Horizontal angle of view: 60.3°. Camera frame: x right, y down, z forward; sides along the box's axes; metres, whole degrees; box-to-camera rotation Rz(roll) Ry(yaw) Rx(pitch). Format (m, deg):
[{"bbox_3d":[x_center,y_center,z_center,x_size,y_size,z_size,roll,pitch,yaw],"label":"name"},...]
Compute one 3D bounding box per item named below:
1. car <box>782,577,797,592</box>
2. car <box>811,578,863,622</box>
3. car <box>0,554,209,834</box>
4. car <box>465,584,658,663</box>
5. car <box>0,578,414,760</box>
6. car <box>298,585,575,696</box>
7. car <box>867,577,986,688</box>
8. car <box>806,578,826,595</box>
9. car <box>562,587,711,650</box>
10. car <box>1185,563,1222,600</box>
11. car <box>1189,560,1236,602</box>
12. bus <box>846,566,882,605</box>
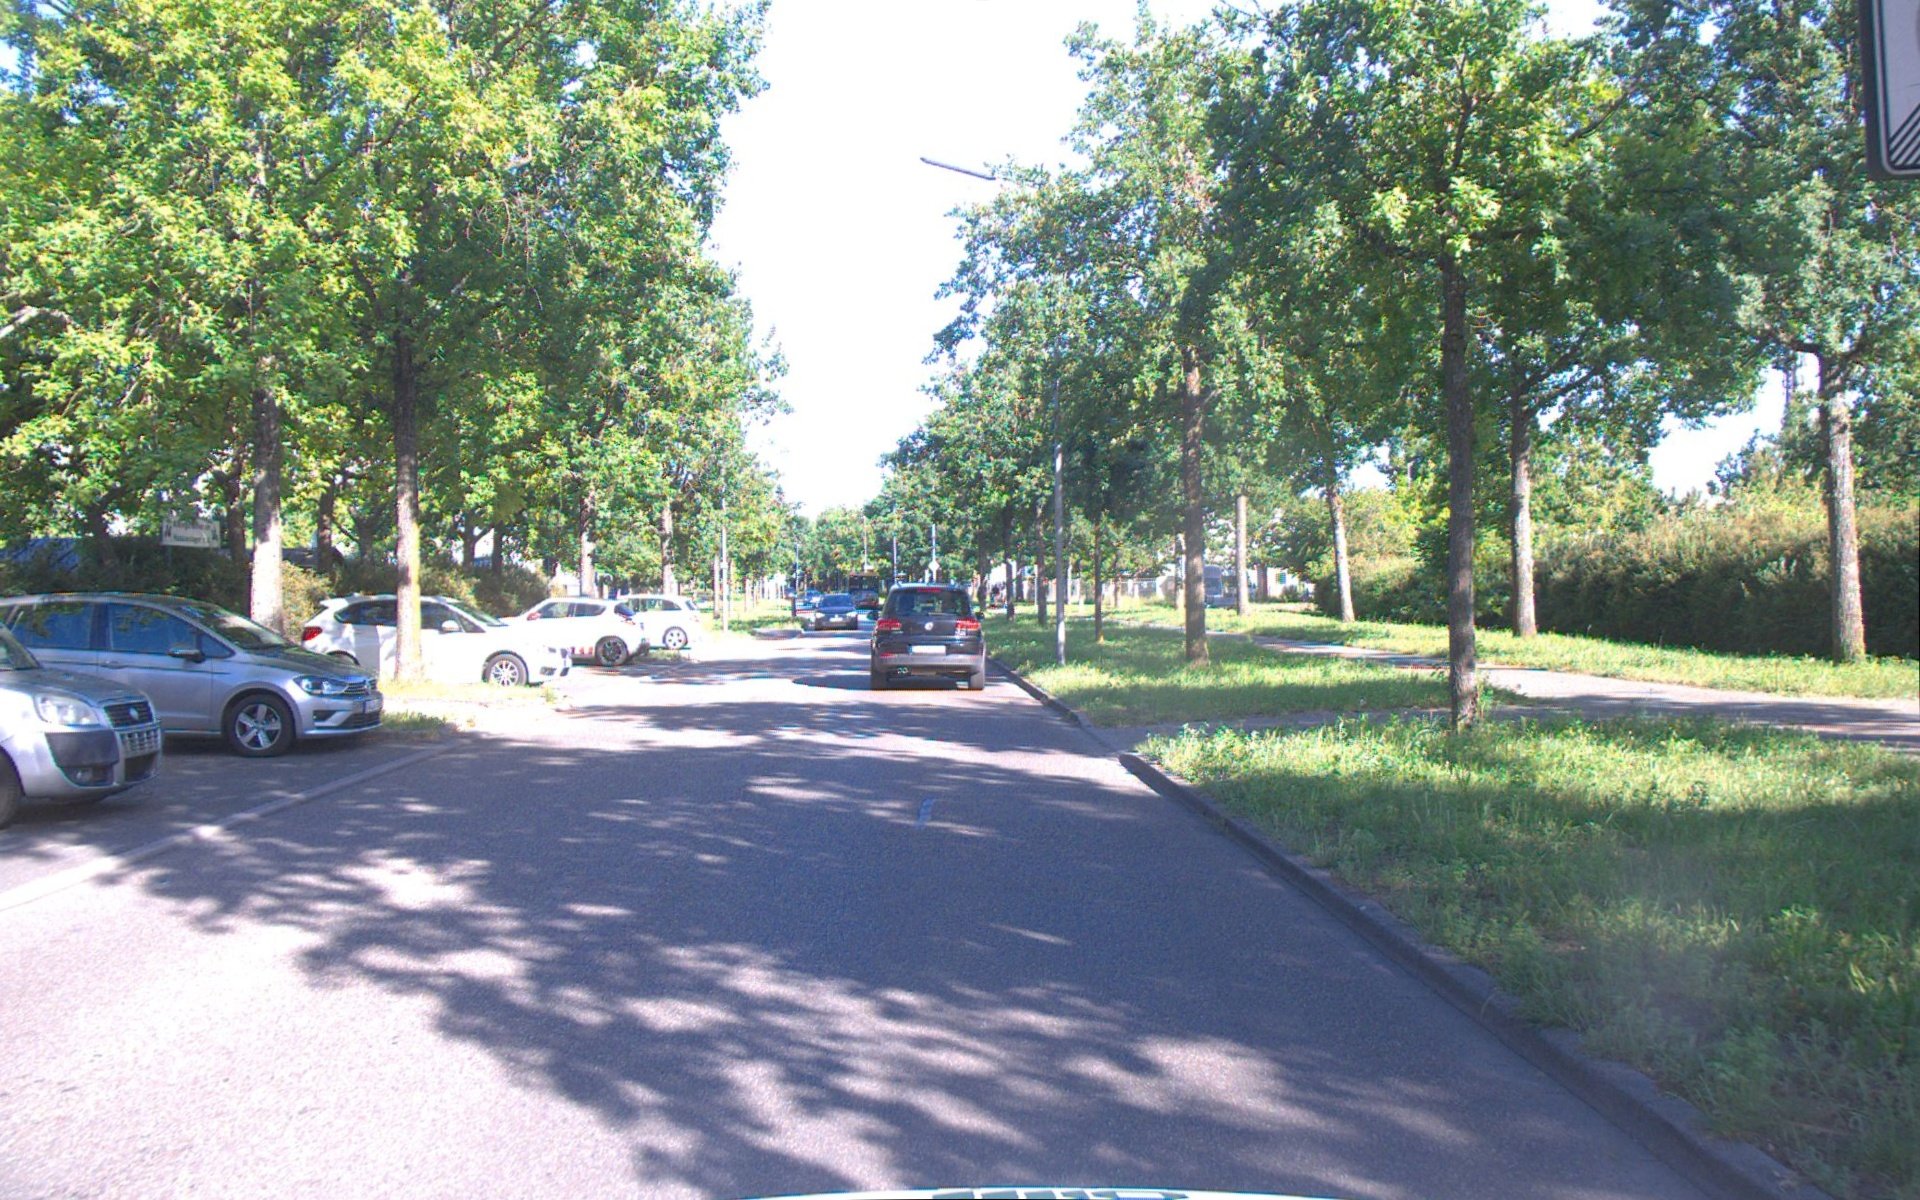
[{"bbox_3d":[-21.758,-2.016,211.537,1.780,1.806,3.774,-2,1,-4],"label":"car"},{"bbox_3d":[-4.989,-0.014,67.526,1.815,1.722,3.955,-1,0,-1],"label":"car"},{"bbox_3d":[-7.869,0.646,12.002,3.934,1.872,1.896,-1,1,-1],"label":"car"},{"bbox_3d":[-8.980,0.520,37.502,3.934,1.676,1.811,-1,0,-1],"label":"car"},{"bbox_3d":[-7.931,0.665,17.043,3.935,1.676,1.896,-2,1,-1],"label":"car"},{"bbox_3d":[-8.488,0.638,27.087,3.934,1.676,1.811,-1,0,-1],"label":"car"},{"bbox_3d":[-0.549,0.472,27.177,1.801,1.665,3.957,0,1,-1],"label":"car"},{"bbox_3d":[-14.080,-1.351,161.712,1.789,1.578,3.686,-2,1,-4],"label":"car"},{"bbox_3d":[-9.357,0.530,48.081,3.935,1.676,1.811,-2,1,-1],"label":"car"},{"bbox_3d":[13.963,-1.063,94.870,1.951,2.049,4.003,-1,0,7],"label":"car"},{"bbox_3d":[12.851,-0.993,84.426,2.011,2.048,4.002,-1,1,4],"label":"car"},{"bbox_3d":[-7.897,-1.195,136.545,2.870,3.056,5.733,-1,0,-3],"label":"bus"}]
